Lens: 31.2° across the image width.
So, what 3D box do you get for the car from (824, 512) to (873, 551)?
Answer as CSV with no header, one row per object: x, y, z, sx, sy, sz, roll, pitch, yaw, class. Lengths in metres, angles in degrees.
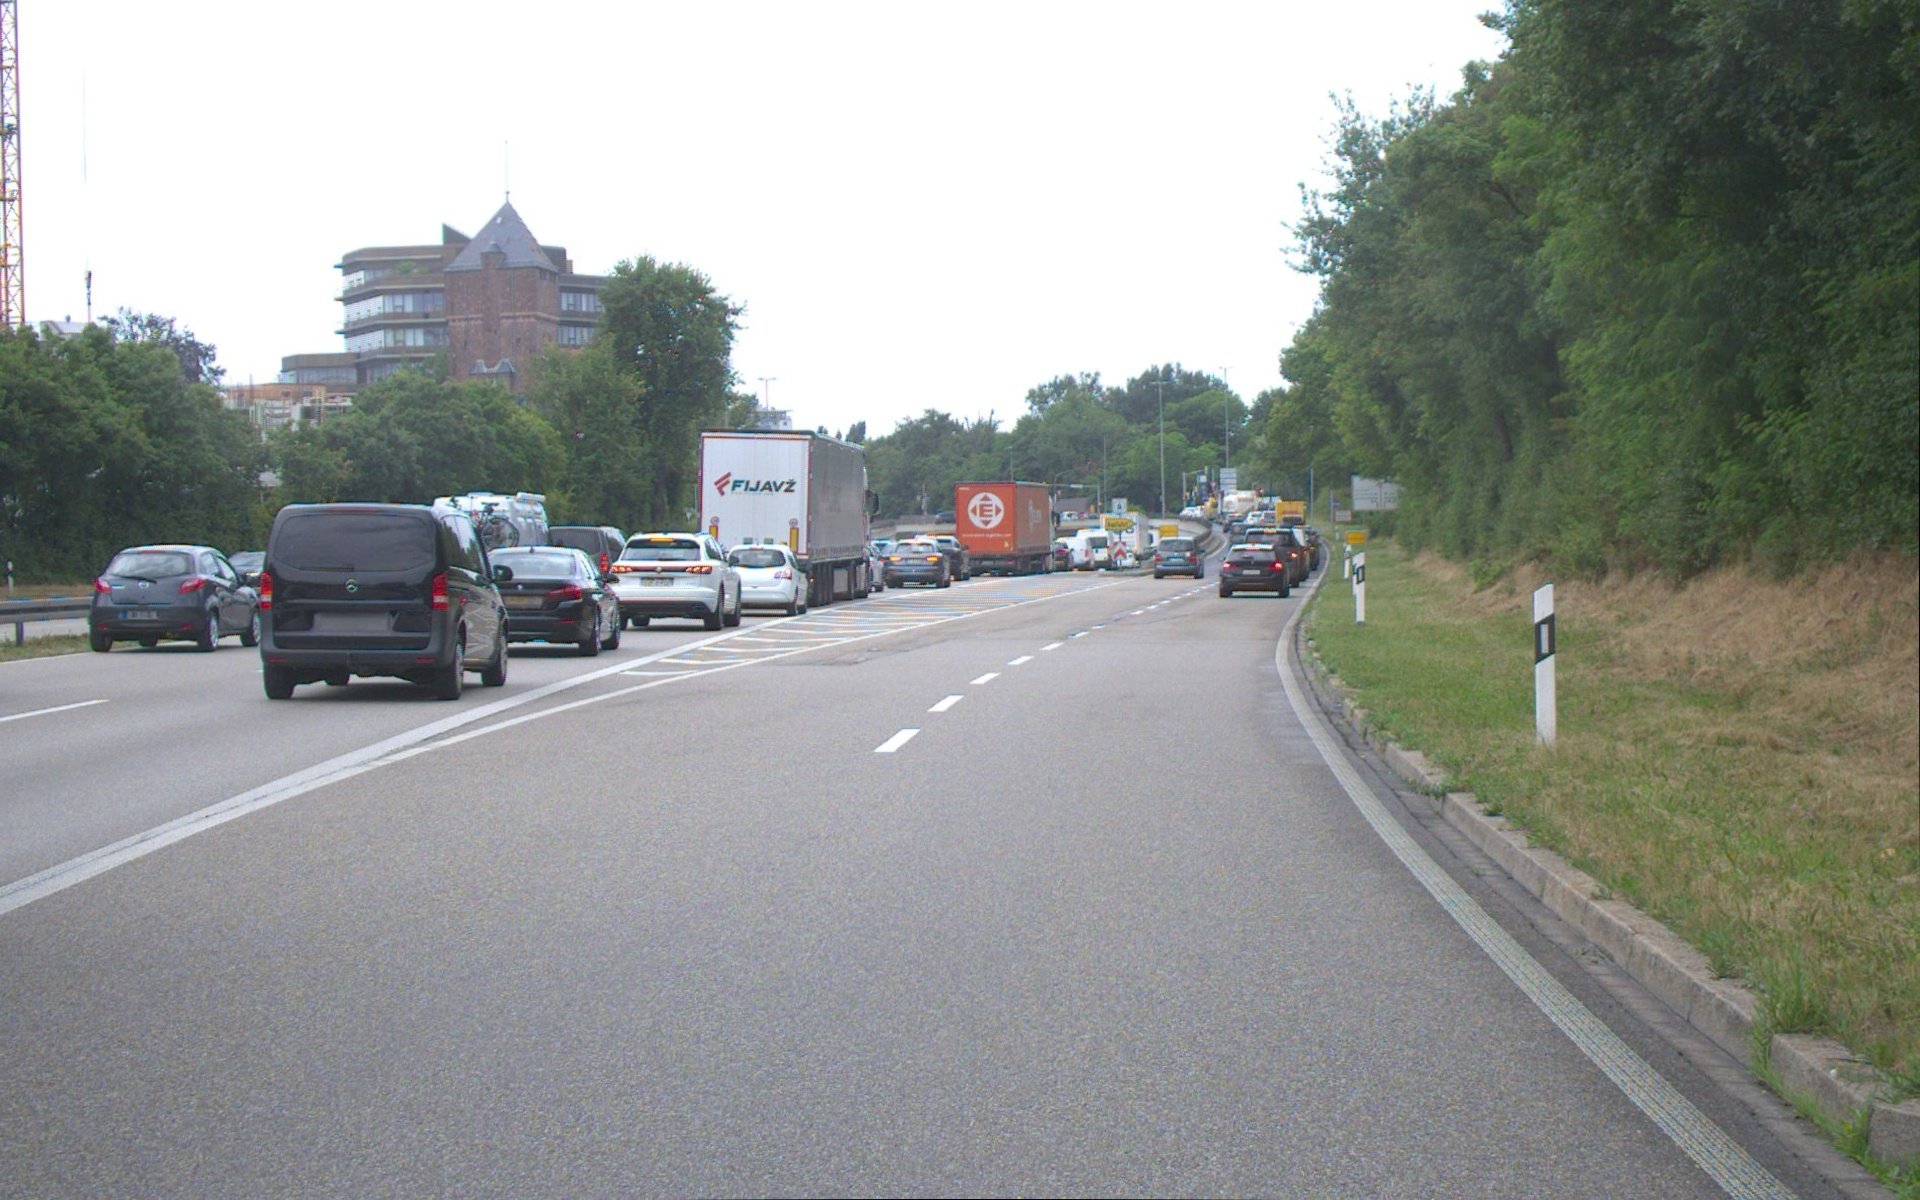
-5.823,-3.592,180.320,1.994,2.007,3.999,-1,1,6,car

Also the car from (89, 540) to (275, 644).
-10.928,-0.139,48.520,1.674,1.384,4.000,-1,1,0,car

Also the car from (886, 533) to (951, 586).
-1.313,-1.300,111.492,1.717,1.678,3.999,1,0,5,car

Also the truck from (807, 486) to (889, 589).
-4.641,-2.585,144.415,2.738,4.124,10.697,1,0,2,truck

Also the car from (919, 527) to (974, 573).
-0.474,-1.872,129.054,1.717,1.678,3.999,1,0,5,car

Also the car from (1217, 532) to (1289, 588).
7.971,-1.104,93.235,1.825,1.477,3.999,-1,1,6,car

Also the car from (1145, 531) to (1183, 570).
10.606,-2.588,178.695,1.951,2.007,4.000,0,1,4,car

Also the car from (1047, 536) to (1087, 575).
5.401,-2.245,173.574,1.615,1.941,3.704,1,0,8,car

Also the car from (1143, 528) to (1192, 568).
7.950,-1.987,131.559,1.825,1.477,4.000,-1,1,4,car

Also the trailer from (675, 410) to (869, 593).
-4.358,-2.246,82.972,3.299,4.022,13.097,1,0,3,trailer

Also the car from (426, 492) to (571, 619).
-9.648,-0.946,72.320,1.994,2.545,5.361,-1,1,3,car

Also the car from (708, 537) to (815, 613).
-4.095,-0.534,71.453,1.764,1.473,4.089,2,1,3,car

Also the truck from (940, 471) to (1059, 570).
1.836,-3.461,149.848,3.491,4.059,13.588,-1,1,8,truck

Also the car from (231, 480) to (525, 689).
-5.737,-0.168,34.510,1.988,1.891,4.985,2,1,1,car

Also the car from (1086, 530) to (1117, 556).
8.350,-3.344,202.473,1.777,1.477,4.000,-1,1,2,car

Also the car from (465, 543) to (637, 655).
-5.579,-0.035,47.423,1.847,1.455,4.831,1,0,-1,car

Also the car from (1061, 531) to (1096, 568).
6.408,-2.717,184.960,1.615,1.941,3.704,1,0,6,car

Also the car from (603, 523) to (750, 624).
-4.962,-0.465,60.766,1.956,1.689,4.865,1,0,3,car
